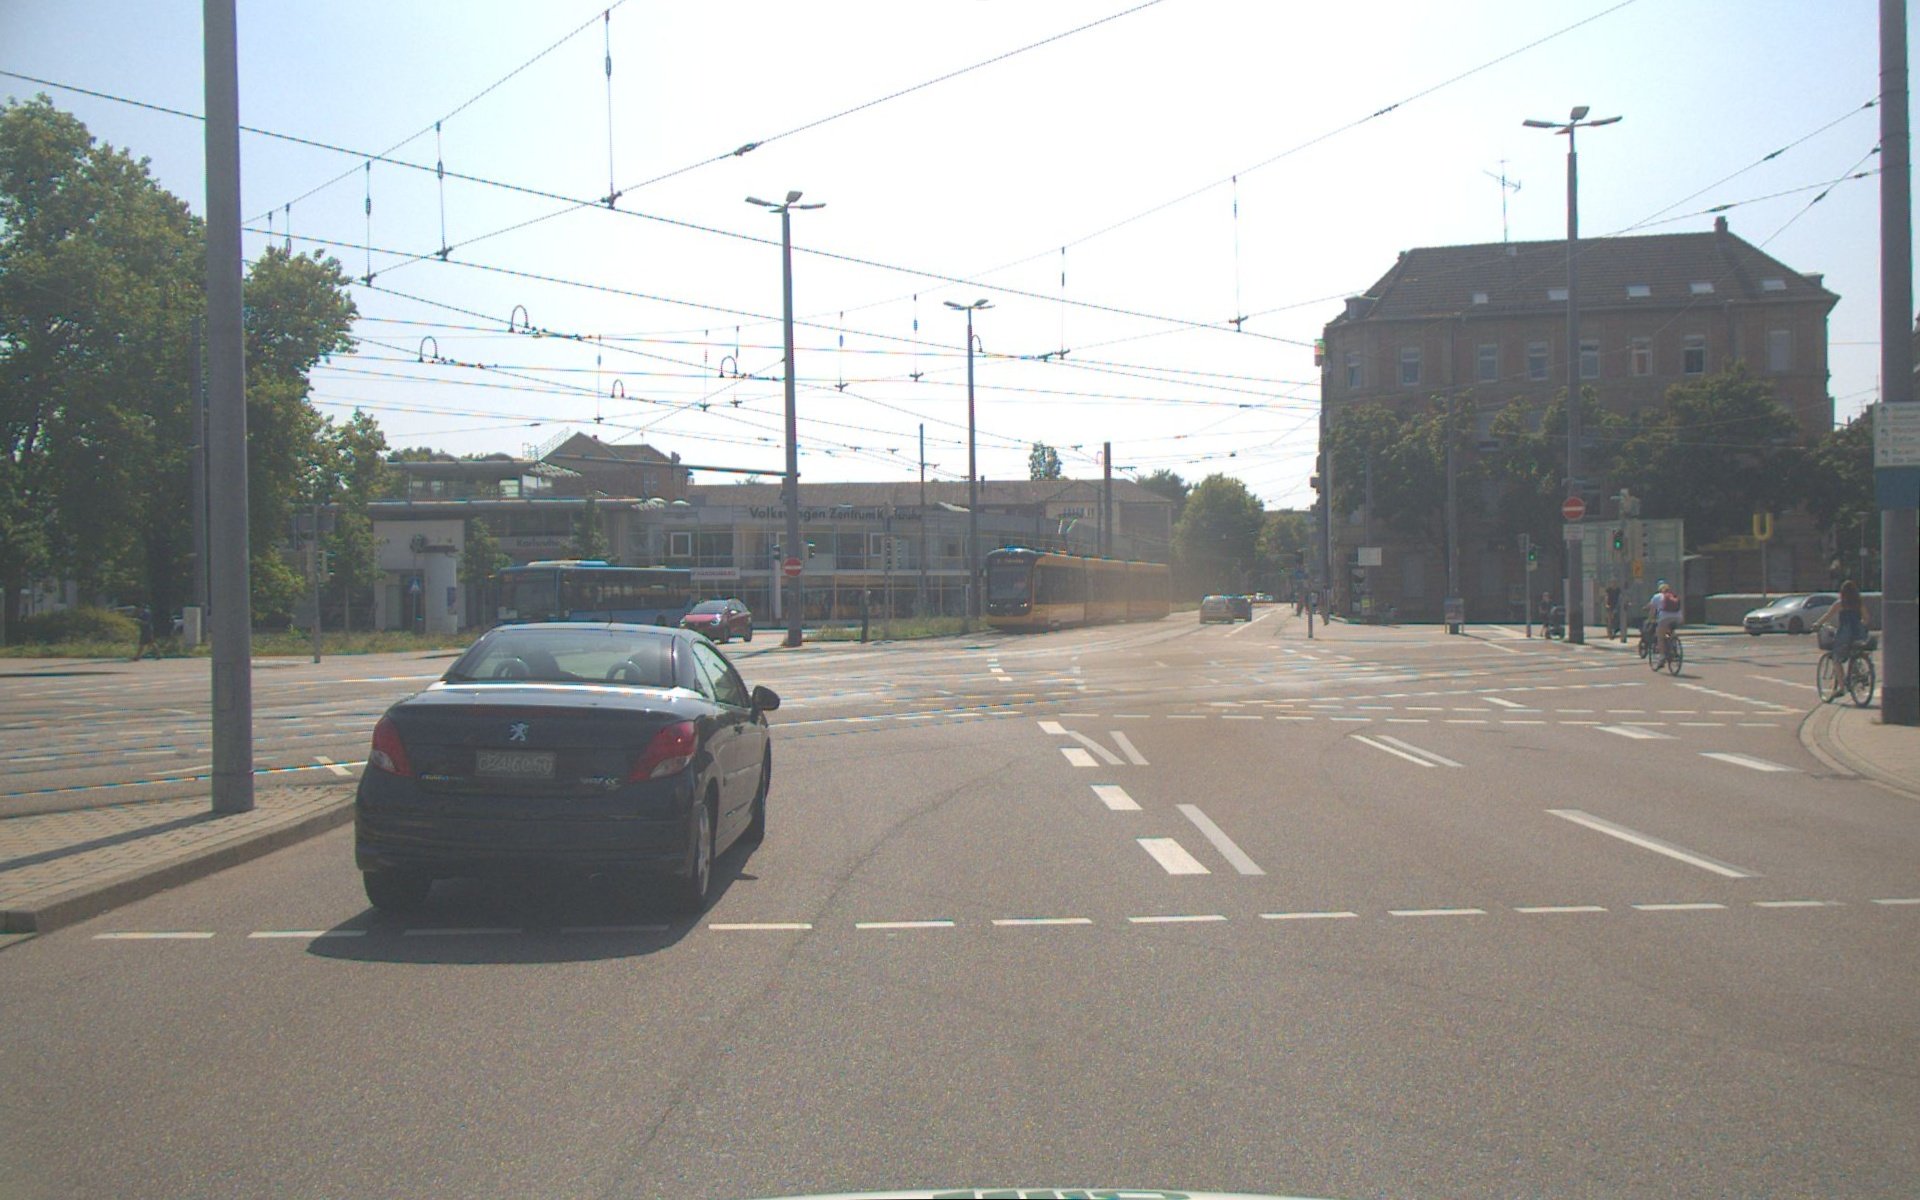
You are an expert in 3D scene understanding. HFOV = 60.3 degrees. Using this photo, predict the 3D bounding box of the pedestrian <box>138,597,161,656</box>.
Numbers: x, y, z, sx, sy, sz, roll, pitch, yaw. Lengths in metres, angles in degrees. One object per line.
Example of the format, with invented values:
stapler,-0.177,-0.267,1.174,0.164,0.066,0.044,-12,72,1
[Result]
pedestrian,-23.490,0.763,47.917,0.545,1.713,0.451,-1,0,-21

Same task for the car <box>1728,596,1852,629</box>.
car,29.440,0.440,58.679,3.938,1.109,1.984,-1,0,-26

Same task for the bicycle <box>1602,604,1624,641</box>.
bicycle,19.491,0.657,49.360,0.459,1.074,1.654,-1,0,17

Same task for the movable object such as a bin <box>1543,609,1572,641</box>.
movable object such as a bin,20.555,0.855,56.882,0.505,1.096,0.807,-1,0,-29

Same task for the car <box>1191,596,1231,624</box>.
car,13.498,0.518,88.721,1.732,1.440,4.192,-1,0,14

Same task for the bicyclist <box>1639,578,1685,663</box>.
bicyclist,12.869,0.369,30.335,0.614,1.544,0.712,-1,0,9

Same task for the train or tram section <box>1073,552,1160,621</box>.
train or tram section,8.988,-0.723,93.161,2.533,3.578,12.981,-1,0,16

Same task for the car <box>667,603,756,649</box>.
car,-8.942,0.912,59.817,1.712,1.579,4.003,-1,0,15

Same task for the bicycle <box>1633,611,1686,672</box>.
bicycle,12.972,0.752,30.697,0.525,1.074,1.655,-1,0,9

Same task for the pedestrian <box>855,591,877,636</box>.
pedestrian,-3.155,0.446,55.433,0.666,1.468,0.364,-1,0,-20

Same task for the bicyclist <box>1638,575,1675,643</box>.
bicyclist,14.900,0.194,35.377,0.519,1.417,0.894,-1,0,9

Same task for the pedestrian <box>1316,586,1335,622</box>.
pedestrian,16.552,0.173,74.902,0.687,1.631,0.571,-1,0,-10

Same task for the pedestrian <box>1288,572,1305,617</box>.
pedestrian,23.344,-0.373,114.696,0.963,3.070,0.975,-1,0,3

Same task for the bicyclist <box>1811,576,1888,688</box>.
bicyclist,12.500,0.438,23.264,0.719,1.544,0.663,-1,0,1

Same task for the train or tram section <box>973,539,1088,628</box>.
train or tram section,3.233,-0.682,72.234,2.533,3.578,10.906,-1,0,16

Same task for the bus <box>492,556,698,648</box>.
bus,-13.490,0.067,62.692,2.507,3.137,12.032,-1,0,14

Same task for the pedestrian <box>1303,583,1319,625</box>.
pedestrian,25.888,0.318,122.031,0.963,3.070,0.975,-1,0,3

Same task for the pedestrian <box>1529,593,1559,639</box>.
pedestrian,20.383,0.566,57.715,0.520,1.572,0.845,-1,0,-26

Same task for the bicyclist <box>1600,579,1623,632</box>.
bicyclist,19.498,0.164,49.501,0.598,1.555,0.521,-1,0,17

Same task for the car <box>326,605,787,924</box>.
car,-2.021,0.754,9.383,1.730,1.412,3.780,1,0,-1

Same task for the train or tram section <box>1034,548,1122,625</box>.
train or tram section,5.972,-0.654,82.256,2.533,3.578,9.666,-1,0,15

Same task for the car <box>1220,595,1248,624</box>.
car,16.193,0.536,97.884,1.601,1.646,4.003,-1,0,9

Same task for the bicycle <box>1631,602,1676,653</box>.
bicycle,14.983,0.583,35.753,0.525,1.074,1.655,-1,0,9

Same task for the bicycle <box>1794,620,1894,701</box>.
bicycle,12.505,0.834,23.446,0.482,1.074,1.823,-1,0,2
